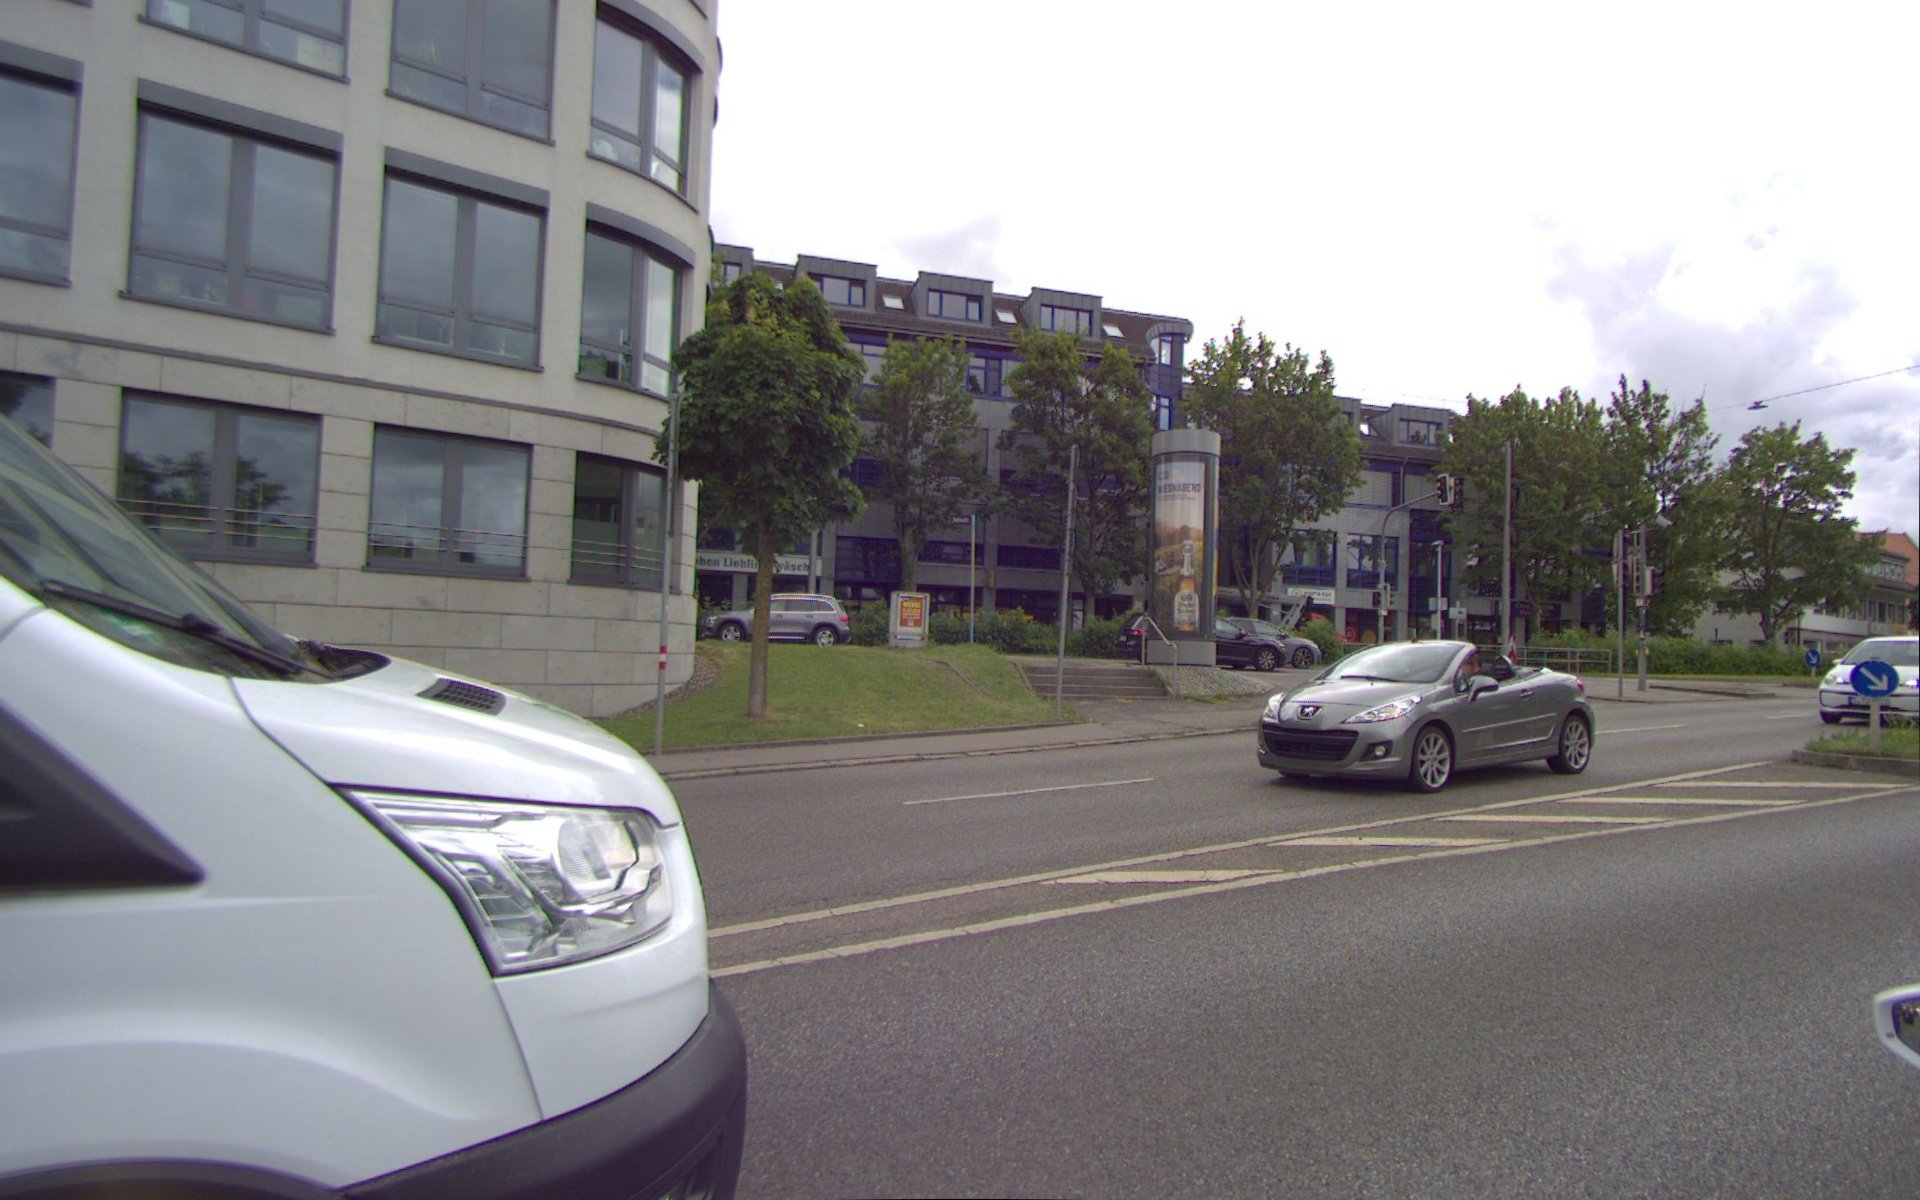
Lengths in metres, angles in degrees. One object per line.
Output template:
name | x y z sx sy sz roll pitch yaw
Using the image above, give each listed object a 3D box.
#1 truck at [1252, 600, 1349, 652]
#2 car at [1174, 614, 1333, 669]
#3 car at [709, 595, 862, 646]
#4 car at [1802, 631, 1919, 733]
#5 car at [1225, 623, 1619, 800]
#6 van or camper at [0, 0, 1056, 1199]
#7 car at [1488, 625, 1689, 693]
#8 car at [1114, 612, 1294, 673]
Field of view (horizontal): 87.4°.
truck | 16.291 1.225 48.185 3.926 2.419 1.997 1 0 -8
car | 9.015 1.279 31.009 4.359 1.482 1.779 2 0 -9
car | -5.356 0.615 30.714 4.494 1.482 1.672 1 0 -14
car | 16.293 1.324 17.140 3.954 1.585 1.768 1 -2 -31
car | 4.802 1.037 10.339 3.935 1.500 1.769 1 -4 -31
van or camper | -2.977 0.105 1.057 5.899 2.697 2.331 3 -1 -32
car | 15.700 1.449 25.297 3.919 1.565 1.783 0 -1 10
car | 6.547 1.128 27.125 4.359 1.482 1.779 2 0 -9
